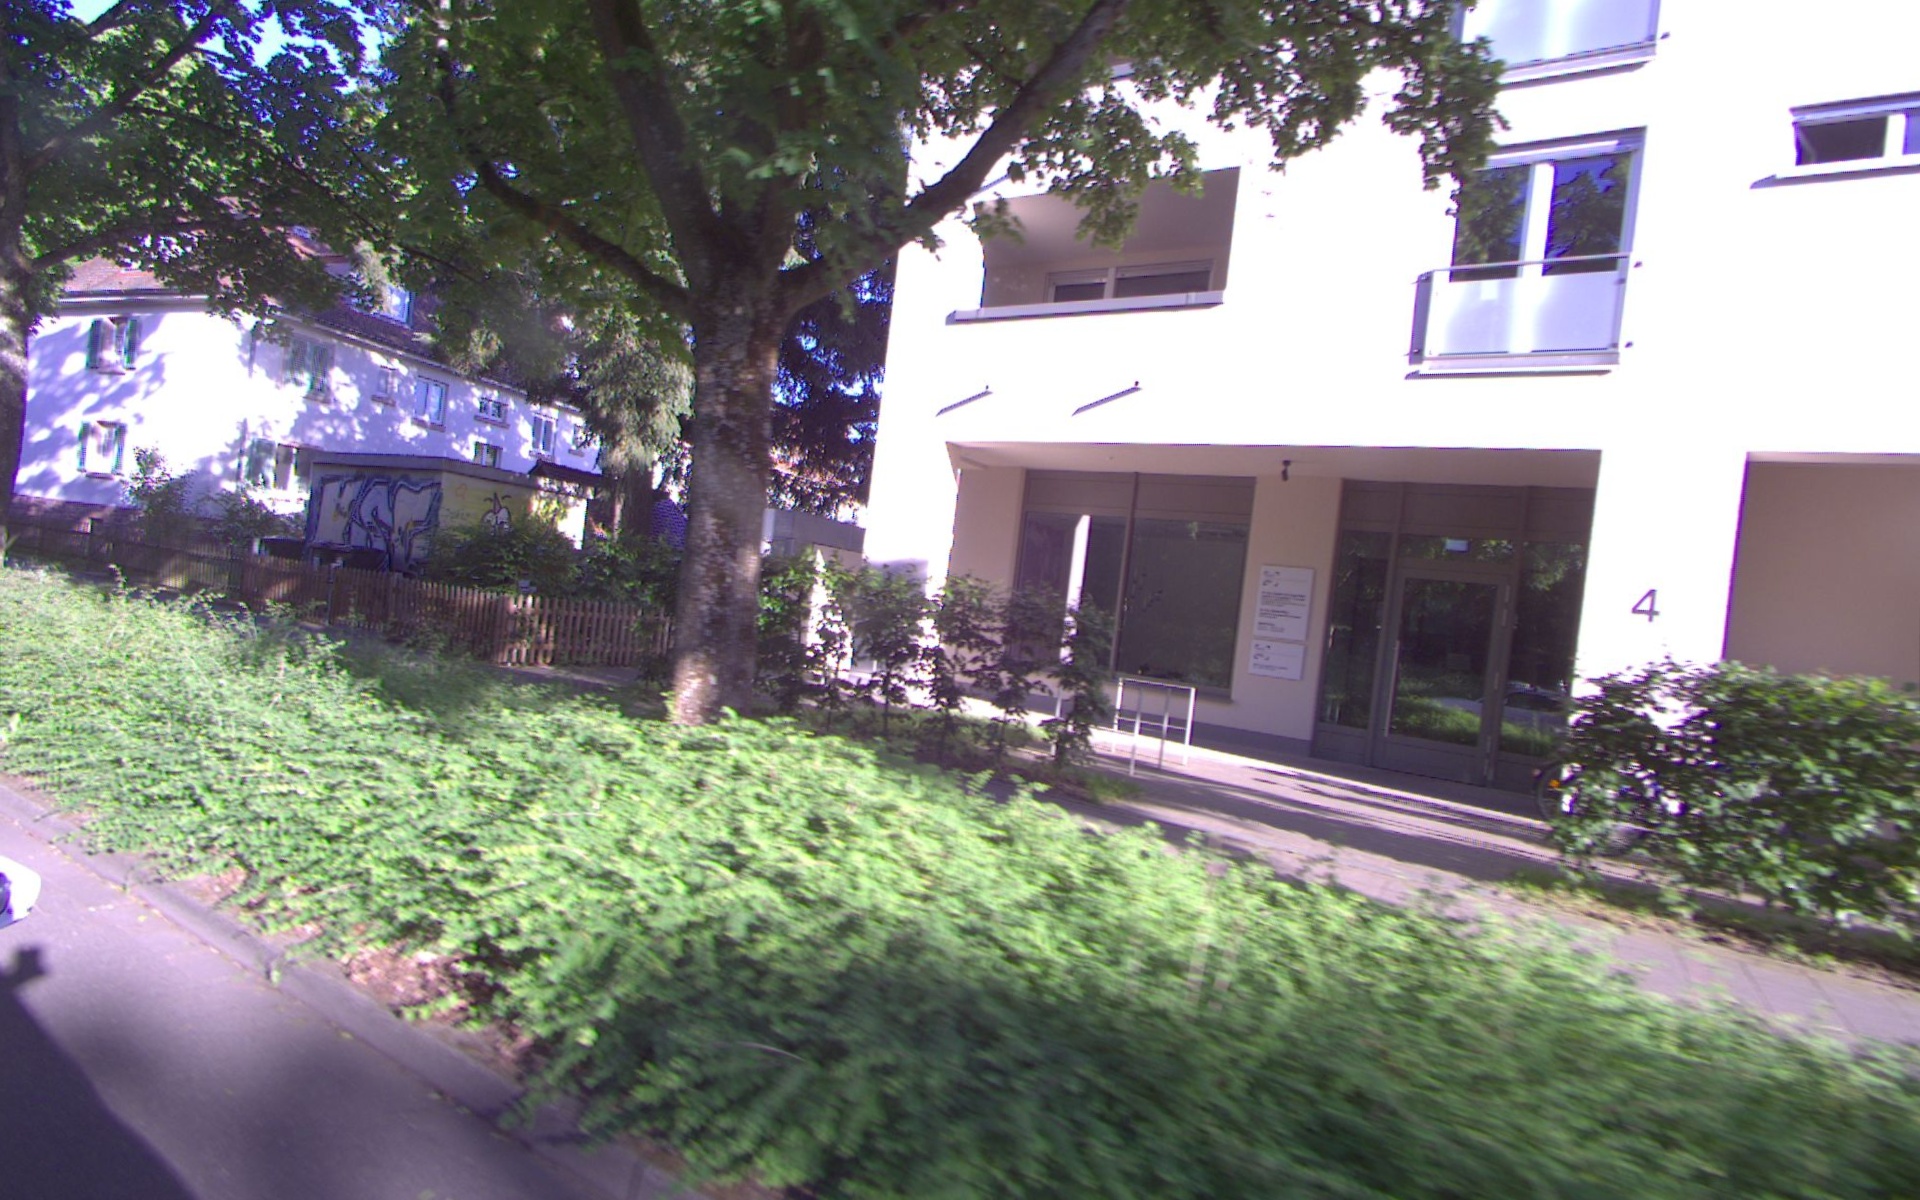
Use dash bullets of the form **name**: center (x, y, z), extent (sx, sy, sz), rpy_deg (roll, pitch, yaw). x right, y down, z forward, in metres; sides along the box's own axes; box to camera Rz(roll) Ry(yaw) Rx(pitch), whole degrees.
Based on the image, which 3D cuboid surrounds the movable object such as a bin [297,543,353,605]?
- **movable object such as a bin**: center (-11.698, -0.476, 18.539), extent (0.585, 1.043, 0.615), rpy_deg (7, 1, 31)

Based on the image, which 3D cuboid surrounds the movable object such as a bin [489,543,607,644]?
- **movable object such as a bin**: center (-6.652, -0.100, 16.246), extent (1.343, 1.445, 1.079), rpy_deg (6, 1, 31)

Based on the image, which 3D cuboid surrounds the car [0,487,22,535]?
- **car**: center (-34.523, -3.247, 34.426), extent (3.927, 1.573, 2.001), rpy_deg (5, -2, 22)

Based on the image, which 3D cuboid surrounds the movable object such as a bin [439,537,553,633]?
- **movable object such as a bin**: center (-7.866, -0.244, 17.075), extent (1.364, 1.449, 1.079), rpy_deg (6, 1, 31)

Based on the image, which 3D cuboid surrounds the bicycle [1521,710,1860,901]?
- **bicycle**: center (5.785, 1.594, 8.127), extent (2.078, 1.100, 0.419), rpy_deg (6, -1, 32)

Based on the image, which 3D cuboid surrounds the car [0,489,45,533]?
- **car**: center (-41.807, -4.030, 42.445), extent (1.703, 1.640, 4.261), rpy_deg (8, -2, 22)

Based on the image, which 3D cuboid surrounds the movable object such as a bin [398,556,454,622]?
- **movable object such as a bin**: center (-9.102, -0.187, 17.158), extent (0.605, 1.043, 0.538), rpy_deg (7, 1, 31)

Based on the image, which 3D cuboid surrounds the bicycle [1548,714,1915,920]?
- **bicycle**: center (5.719, 1.571, 7.625), extent (2.078, 1.100, 0.419), rpy_deg (6, -1, 32)

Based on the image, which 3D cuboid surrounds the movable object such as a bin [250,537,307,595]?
- **movable object such as a bin**: center (-13.197, -0.656, 19.481), extent (0.634, 1.043, 0.643), rpy_deg (7, 1, 31)

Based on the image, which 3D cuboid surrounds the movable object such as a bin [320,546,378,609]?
- **movable object such as a bin**: center (-11.006, -0.403, 18.116), extent (0.630, 1.043, 0.606), rpy_deg (7, 1, 31)

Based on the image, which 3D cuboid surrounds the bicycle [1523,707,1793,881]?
- **bicycle**: center (5.885, 1.600, 8.591), extent (1.758, 1.124, 0.419), rpy_deg (6, -1, 32)
